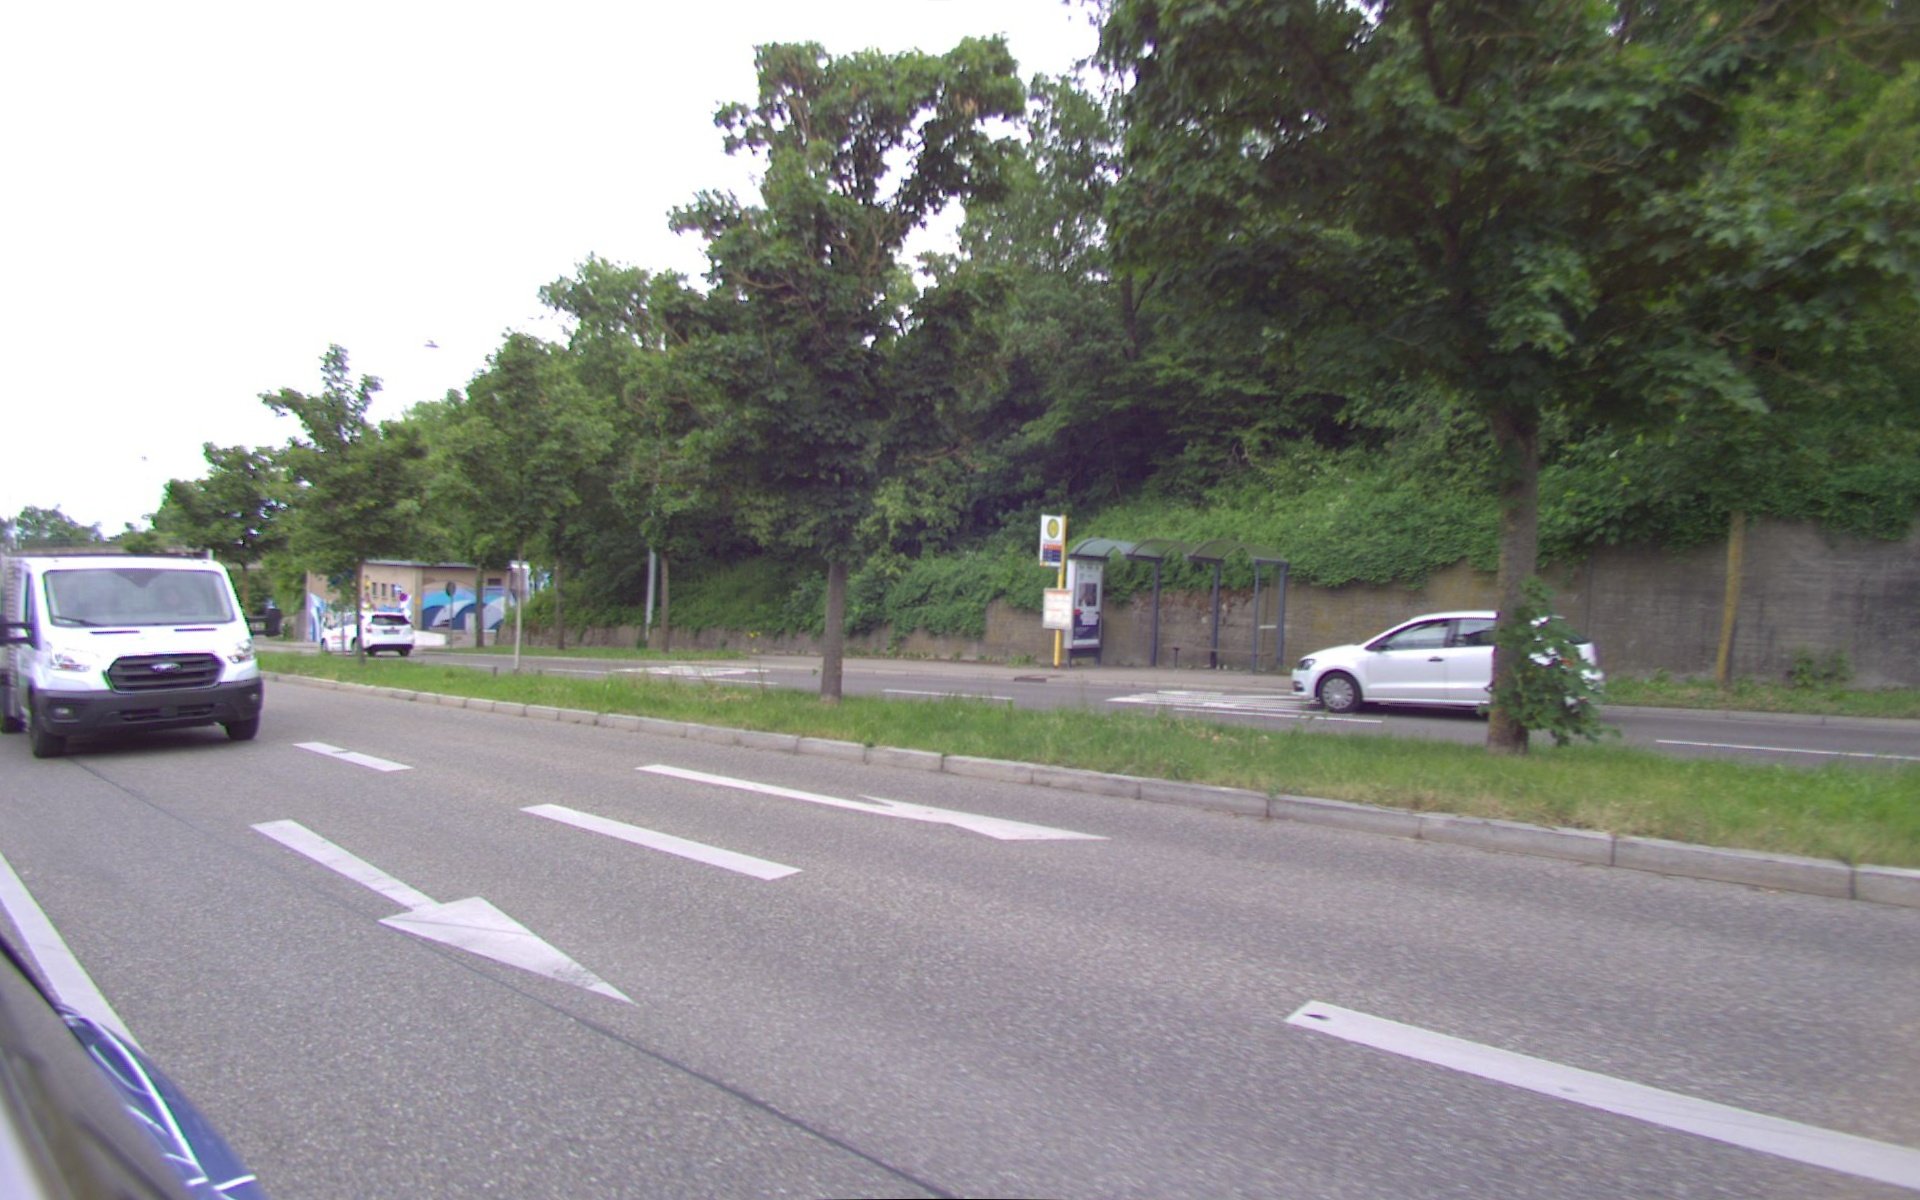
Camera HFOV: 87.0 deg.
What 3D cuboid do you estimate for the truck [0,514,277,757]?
[{"bbox_3d":[-10.689,0.361,12.569,6.327,2.338,2.054,0,-1,40],"label":"truck"}]

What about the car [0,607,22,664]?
[{"bbox_3d":[-27.318,0.993,27.727,4.397,1.492,1.891,-2,0,41],"label":"car"}]

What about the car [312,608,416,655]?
[{"bbox_3d":[-21.305,1.107,36.119,4.454,1.572,1.762,-2,-1,39],"label":"car"}]

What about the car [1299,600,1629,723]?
[{"bbox_3d":[6.885,0.768,14.026,3.788,1.439,1.711,-1,0,41],"label":"car"}]
